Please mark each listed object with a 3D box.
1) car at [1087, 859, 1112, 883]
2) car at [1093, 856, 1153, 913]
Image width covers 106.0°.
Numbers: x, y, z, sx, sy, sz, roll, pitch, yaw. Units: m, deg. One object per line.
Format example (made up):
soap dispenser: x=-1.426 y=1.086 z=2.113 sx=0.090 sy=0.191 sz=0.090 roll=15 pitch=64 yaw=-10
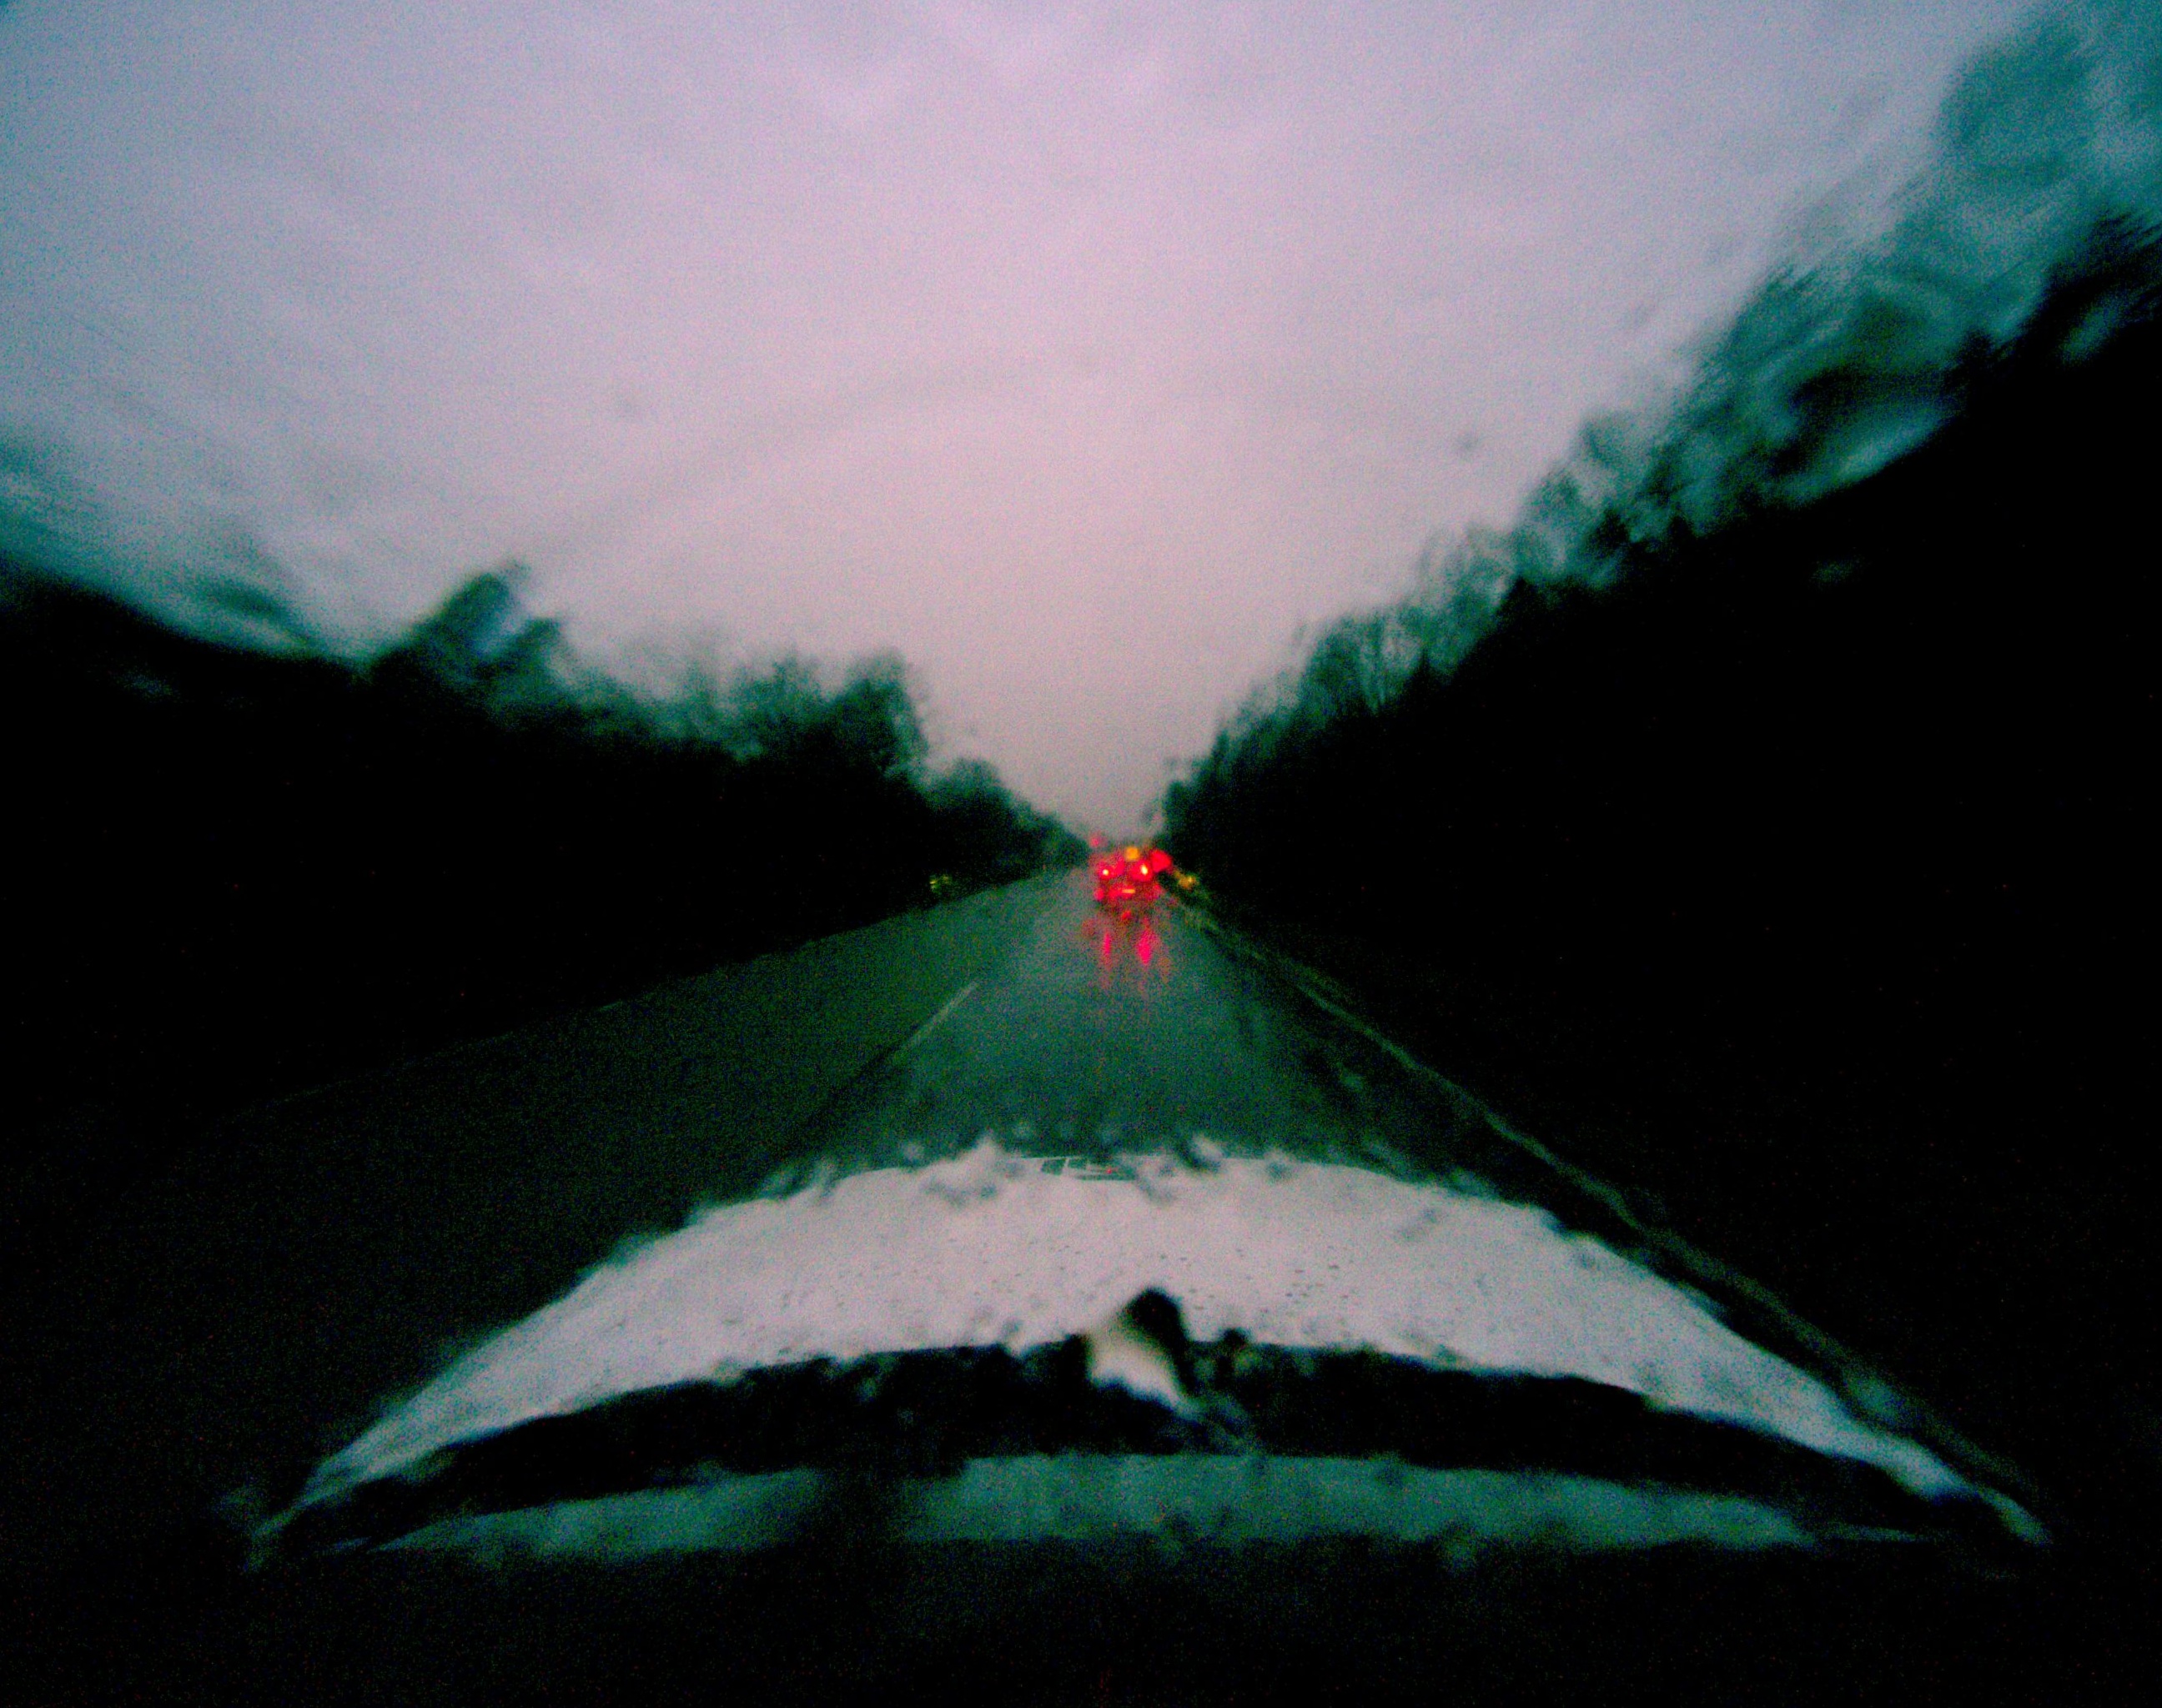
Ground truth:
car: x=1.391 y=1.247 z=60.691 sx=1.720 sy=1.643 sz=4.003 roll=-1 pitch=-1 yaw=3
car: x=1.341 y=0.906 z=25.777 sx=1.720 sy=1.643 sz=4.003 roll=-1 pitch=-1 yaw=3
